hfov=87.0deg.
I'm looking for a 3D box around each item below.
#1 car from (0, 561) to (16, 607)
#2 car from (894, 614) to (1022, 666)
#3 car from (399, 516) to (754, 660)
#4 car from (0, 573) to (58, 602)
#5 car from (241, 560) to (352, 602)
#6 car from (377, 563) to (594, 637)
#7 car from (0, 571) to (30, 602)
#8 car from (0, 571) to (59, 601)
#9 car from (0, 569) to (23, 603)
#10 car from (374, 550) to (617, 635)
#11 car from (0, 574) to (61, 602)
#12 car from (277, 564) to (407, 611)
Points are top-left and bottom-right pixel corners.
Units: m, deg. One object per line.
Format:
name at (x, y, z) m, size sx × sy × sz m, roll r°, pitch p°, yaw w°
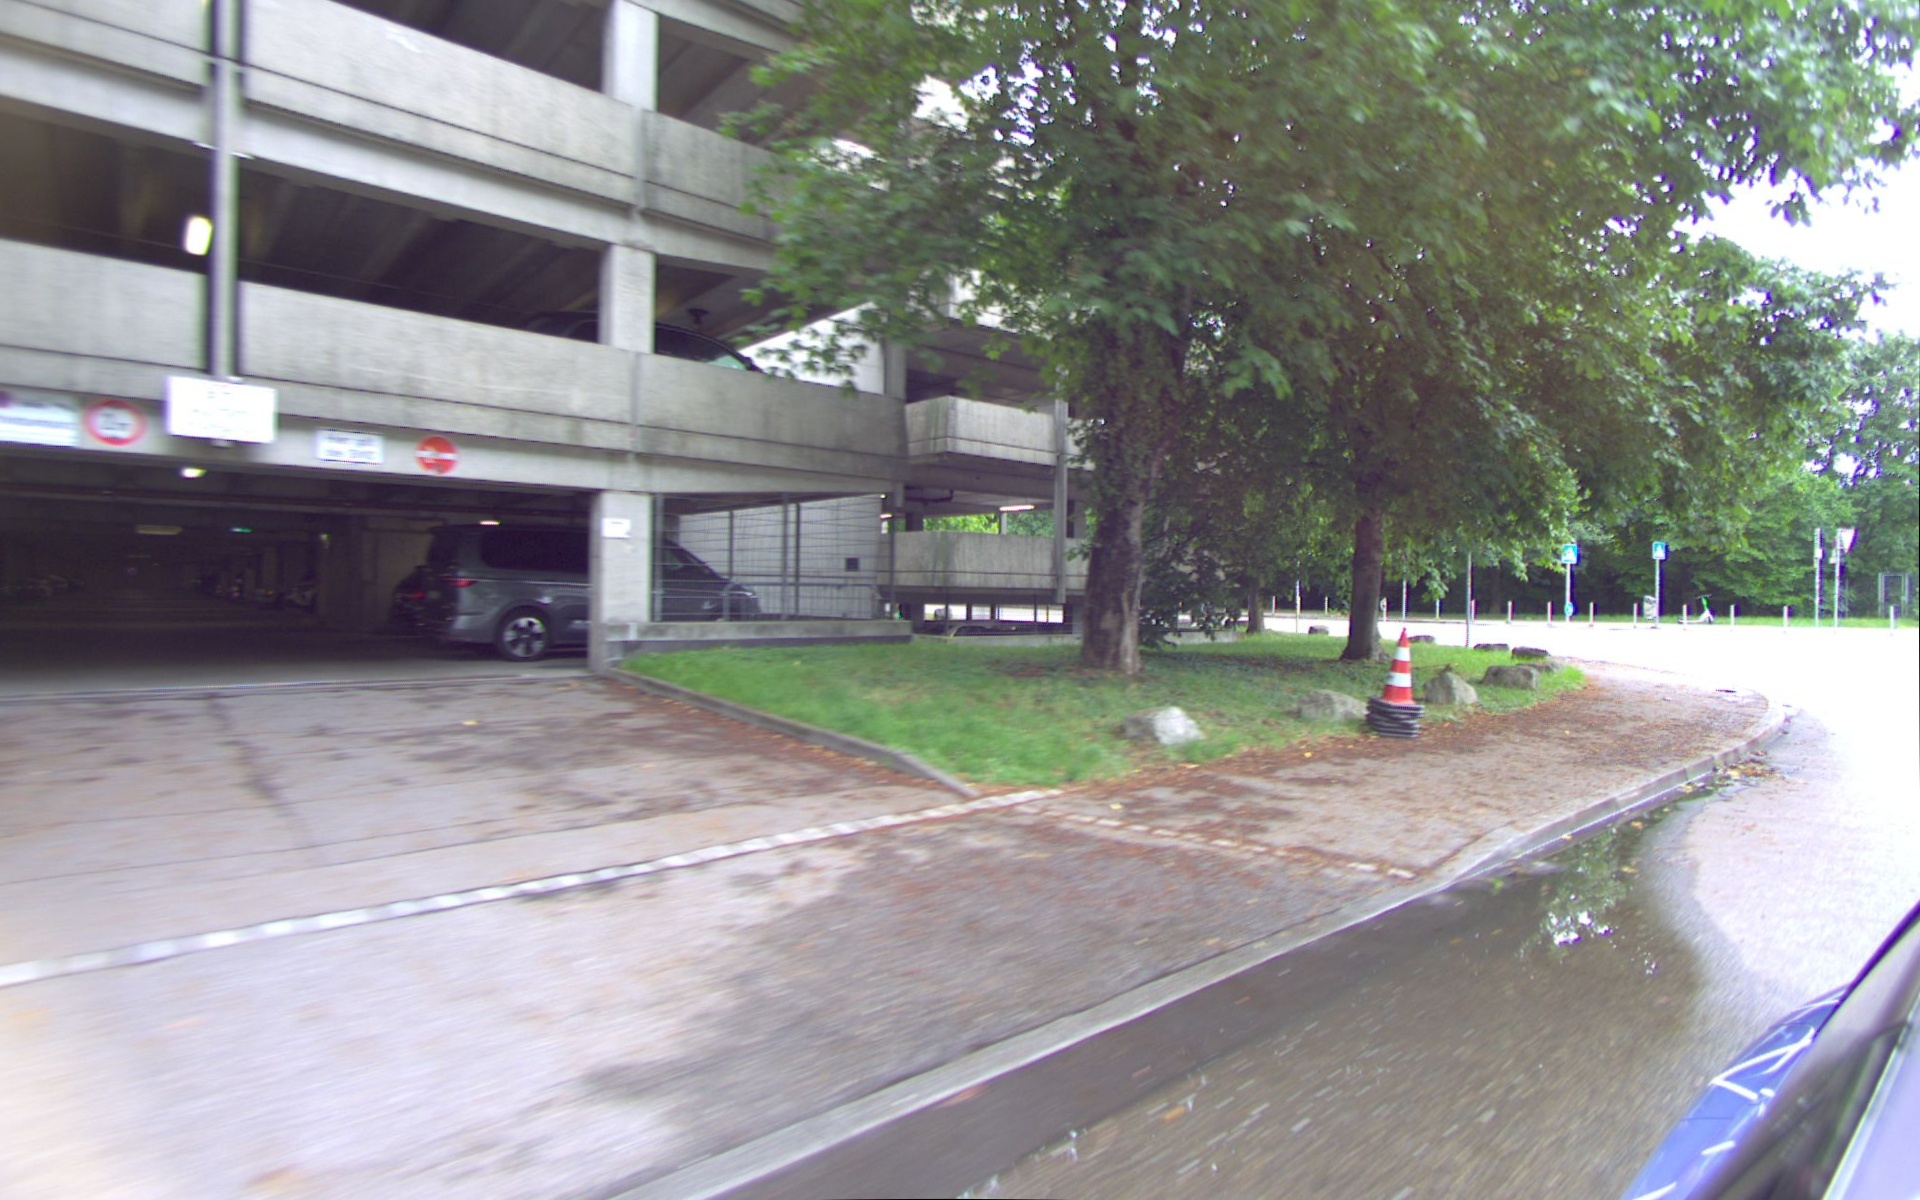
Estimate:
car at (-30.301, -0.461, 30.129) m, size 3.151 × 1.381 × 1.510 m, roll -2°, pitch 1°, yaw -42°
car at (-0.033, 1.278, 33.707) m, size 3.927 × 1.471 × 1.876 m, roll -2°, pitch 1°, yaw -38°
car at (-5.640, -0.167, 15.252) m, size 4.653 × 1.858 × 1.922 m, roll 0°, pitch 0°, yaw -42°
car at (-41.108, -0.537, 43.735) m, size 3.151 × 1.227 × 1.510 m, roll -2°, pitch 1°, yaw -42°
car at (-23.881, -0.696, 36.447) m, size 3.151 × 1.446 × 1.510 m, roll -2°, pitch 1°, yaw -42°
car at (-10.219, -0.045, 21.908) m, size 3.927 × 1.471 × 1.876 m, roll -2°, pitch 1°, yaw -38°
car at (-38.422, -0.507, 39.440) m, size 3.151 × 1.227 × 1.510 m, roll -2°, pitch 1°, yaw -42°
car at (-39.556, -0.579, 42.062) m, size 3.151 × 1.227 × 1.510 m, roll -2°, pitch 1°, yaw -42°
car at (-35.831, -0.495, 36.335) m, size 3.151 × 1.227 × 1.510 m, roll -2°, pitch 1°, yaw -42°
car at (-8.882, -0.175, 19.486) m, size 3.927 × 1.471 × 1.876 m, roll -2°, pitch 1°, yaw -38°
car at (-42.652, -0.553, 45.607) m, size 3.151 × 1.227 × 1.510 m, roll -2°, pitch 1°, yaw -42°
car at (-18.812, -0.397, 30.876) m, size 3.151 × 1.377 × 1.510 m, roll -2°, pitch 1°, yaw -42°
